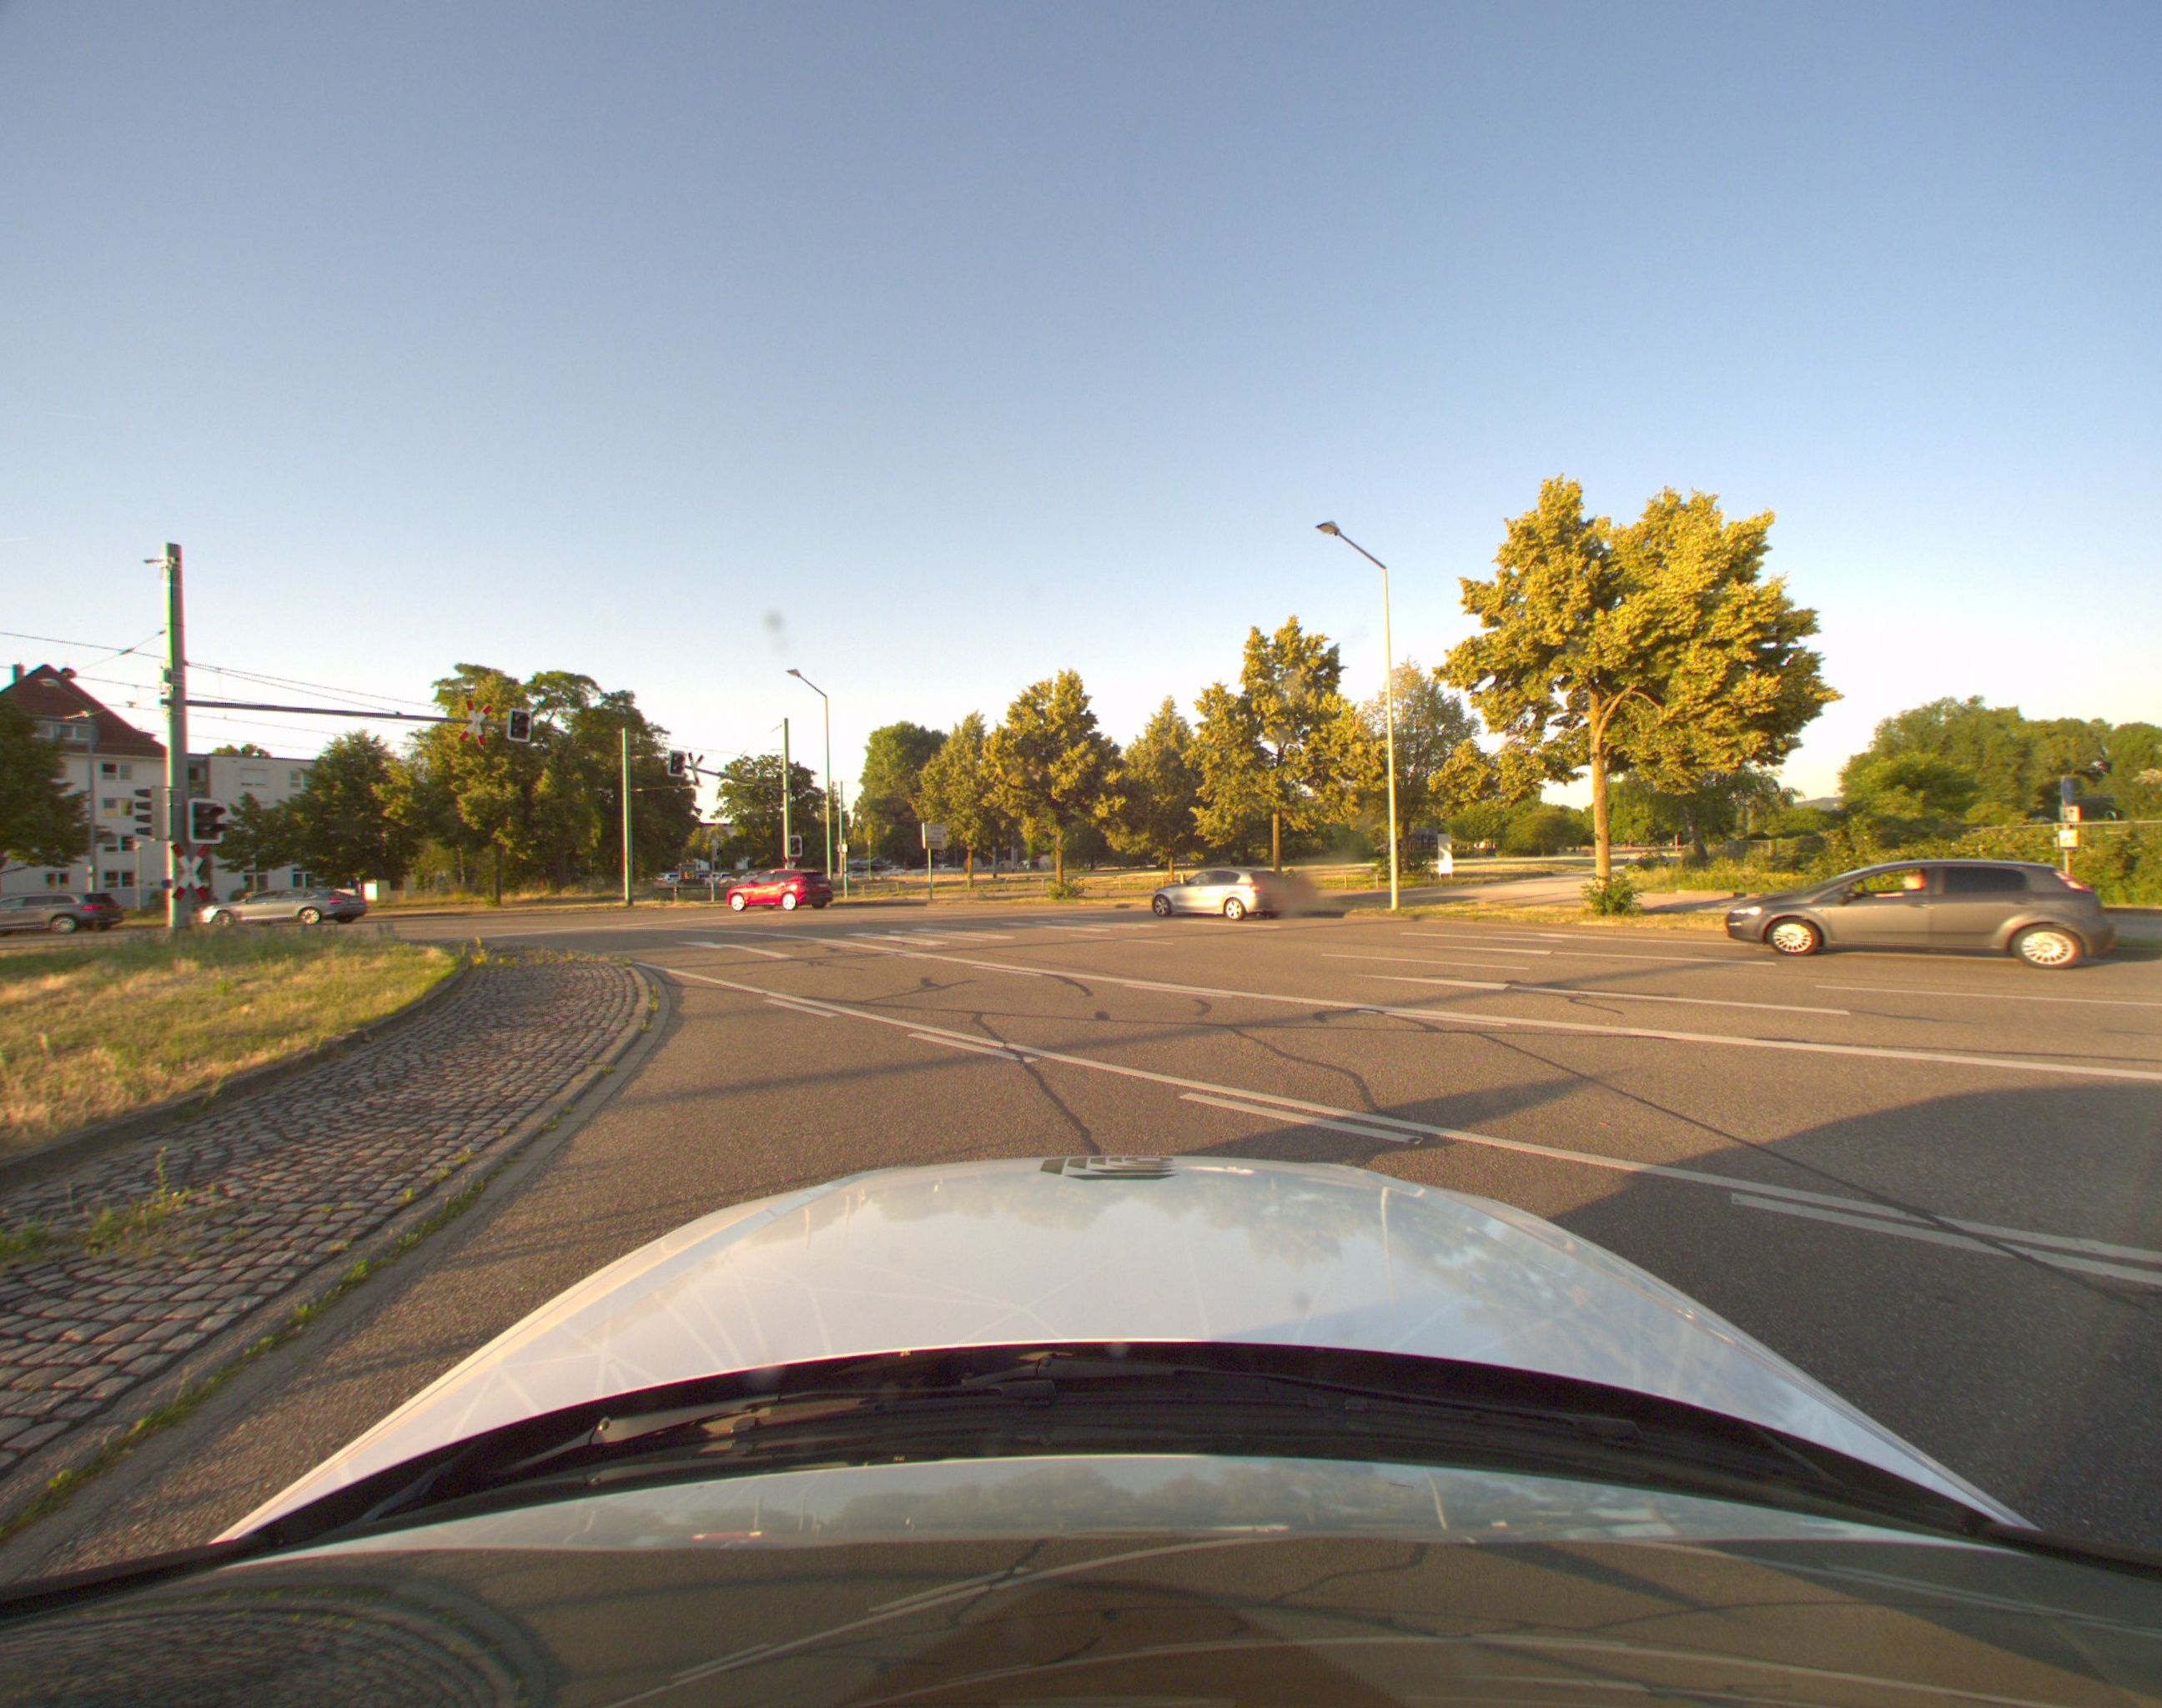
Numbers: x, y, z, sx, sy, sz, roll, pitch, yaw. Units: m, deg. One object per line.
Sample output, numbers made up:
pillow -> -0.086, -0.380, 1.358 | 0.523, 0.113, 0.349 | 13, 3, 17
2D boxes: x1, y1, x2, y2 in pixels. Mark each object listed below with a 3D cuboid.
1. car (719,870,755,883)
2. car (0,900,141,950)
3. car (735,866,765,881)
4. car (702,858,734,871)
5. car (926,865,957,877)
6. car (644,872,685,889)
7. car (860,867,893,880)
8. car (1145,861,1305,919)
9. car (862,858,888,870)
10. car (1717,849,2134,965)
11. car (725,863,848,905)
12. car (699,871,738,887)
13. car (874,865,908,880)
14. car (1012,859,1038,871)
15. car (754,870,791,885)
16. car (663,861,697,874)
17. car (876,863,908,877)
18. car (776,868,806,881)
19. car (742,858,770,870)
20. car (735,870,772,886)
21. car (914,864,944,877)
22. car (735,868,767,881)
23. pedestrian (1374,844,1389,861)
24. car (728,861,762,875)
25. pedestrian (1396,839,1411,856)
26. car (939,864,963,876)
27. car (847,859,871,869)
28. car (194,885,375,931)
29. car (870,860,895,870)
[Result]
car -> -46.096, 3.032, 109.152 | 1.878, 1.662, 4.026 | -2, 0, 37
car -> -40.797, 2.801, 32.031 | 4.531, 1.637, 1.984 | -2, 0, -24
car -> -48.065, 2.797, 118.329 | 4.006, 2.013, 1.984 | -2, 0, -24
car -> -61.905, 1.811, 139.072 | 1.974, 2.013, 4.628 | -2, 0, 36
car -> -19.974, 2.387, 116.487 | 3.948, 1.604, 2.013 | -2, 0, 34
car -> -42.636, 2.692, 83.332 | 3.948, 1.604, 2.013 | -2, 0, 34
car -> -26.653, 2.499, 105.994 | 3.948, 1.604, 2.013 | -2, 0, 34
car -> 3.907, 0.951, 22.615 | 1.878, 1.390, 4.113 | -2, 0, -41
car -> -37.939, 1.798, 150.051 | 1.975, 2.013, 4.025 | -2, 0, 42
car -> 12.376, 0.729, 12.353 | 4.110, 1.454, 1.879 | -2, -2, 43
car -> -11.946, 1.215, 33.043 | 4.364, 1.573, 2.010 | -2, 0, 20
car -> -39.005, 2.699, 87.549 | 3.948, 1.604, 2.013 | -2, 0, 34
car -> -27.633, 2.700, 118.519 | 4.578, 2.013, 1.995 | -2, 0, -7
car -> -7.937, 1.537, 115.268 | 1.748, 1.618, 3.954 | -1, 0, -39
car -> -35.490, 2.724, 93.678 | 3.948, 1.604, 2.013 | -2, 0, 34
car -> -65.644, 2.256, 133.333 | 1.974, 2.013, 4.627 | -2, 0, 32
car -> -29.358, 2.432, 126.706 | 4.578, 2.013, 1.995 | -2, 0, -7
car -> -41.281, 2.900, 116.003 | 4.001, 1.662, 1.889 | -2, 0, -20
car -> -57.817, 1.827, 144.942 | 1.974, 2.013, 4.143 | -2, 0, 36
car -> -37.035, 2.722, 92.069 | 3.948, 1.604, 2.013 | -2, 0, 34
car -> -21.449, 2.330, 114.793 | 3.948, 1.604, 2.013 | -2, 0, 34
car -> -46.211, 2.802, 113.952 | 4.005, 1.662, 1.984 | -2, 0, -24
pedestrian -> 28.814, -0.113, 78.115 | 1.064, 1.617, 0.911 | -2, 0, 4
car -> -51.863, 2.143, 125.811 | 1.974, 2.013, 4.627 | -2, 0, 32
pedestrian -> 30.676, -0.612, 77.538 | 1.064, 1.617, 0.911 | -2, 0, 4
car -> -20.821, 2.544, 129.995 | 2.008, 1.752, 4.549 | -1, 1, -35
car -> -41.727, 1.908, 153.029 | 1.974, 1.816, 4.026 | -2, 0, 37
car -> -30.155, 2.012, 30.988 | 4.653, 1.464, 1.881 | -2, 0, -9
car -> -35.663, 1.908, 146.444 | 3.964, 1.706, 2.005 | -2, 0, 8
